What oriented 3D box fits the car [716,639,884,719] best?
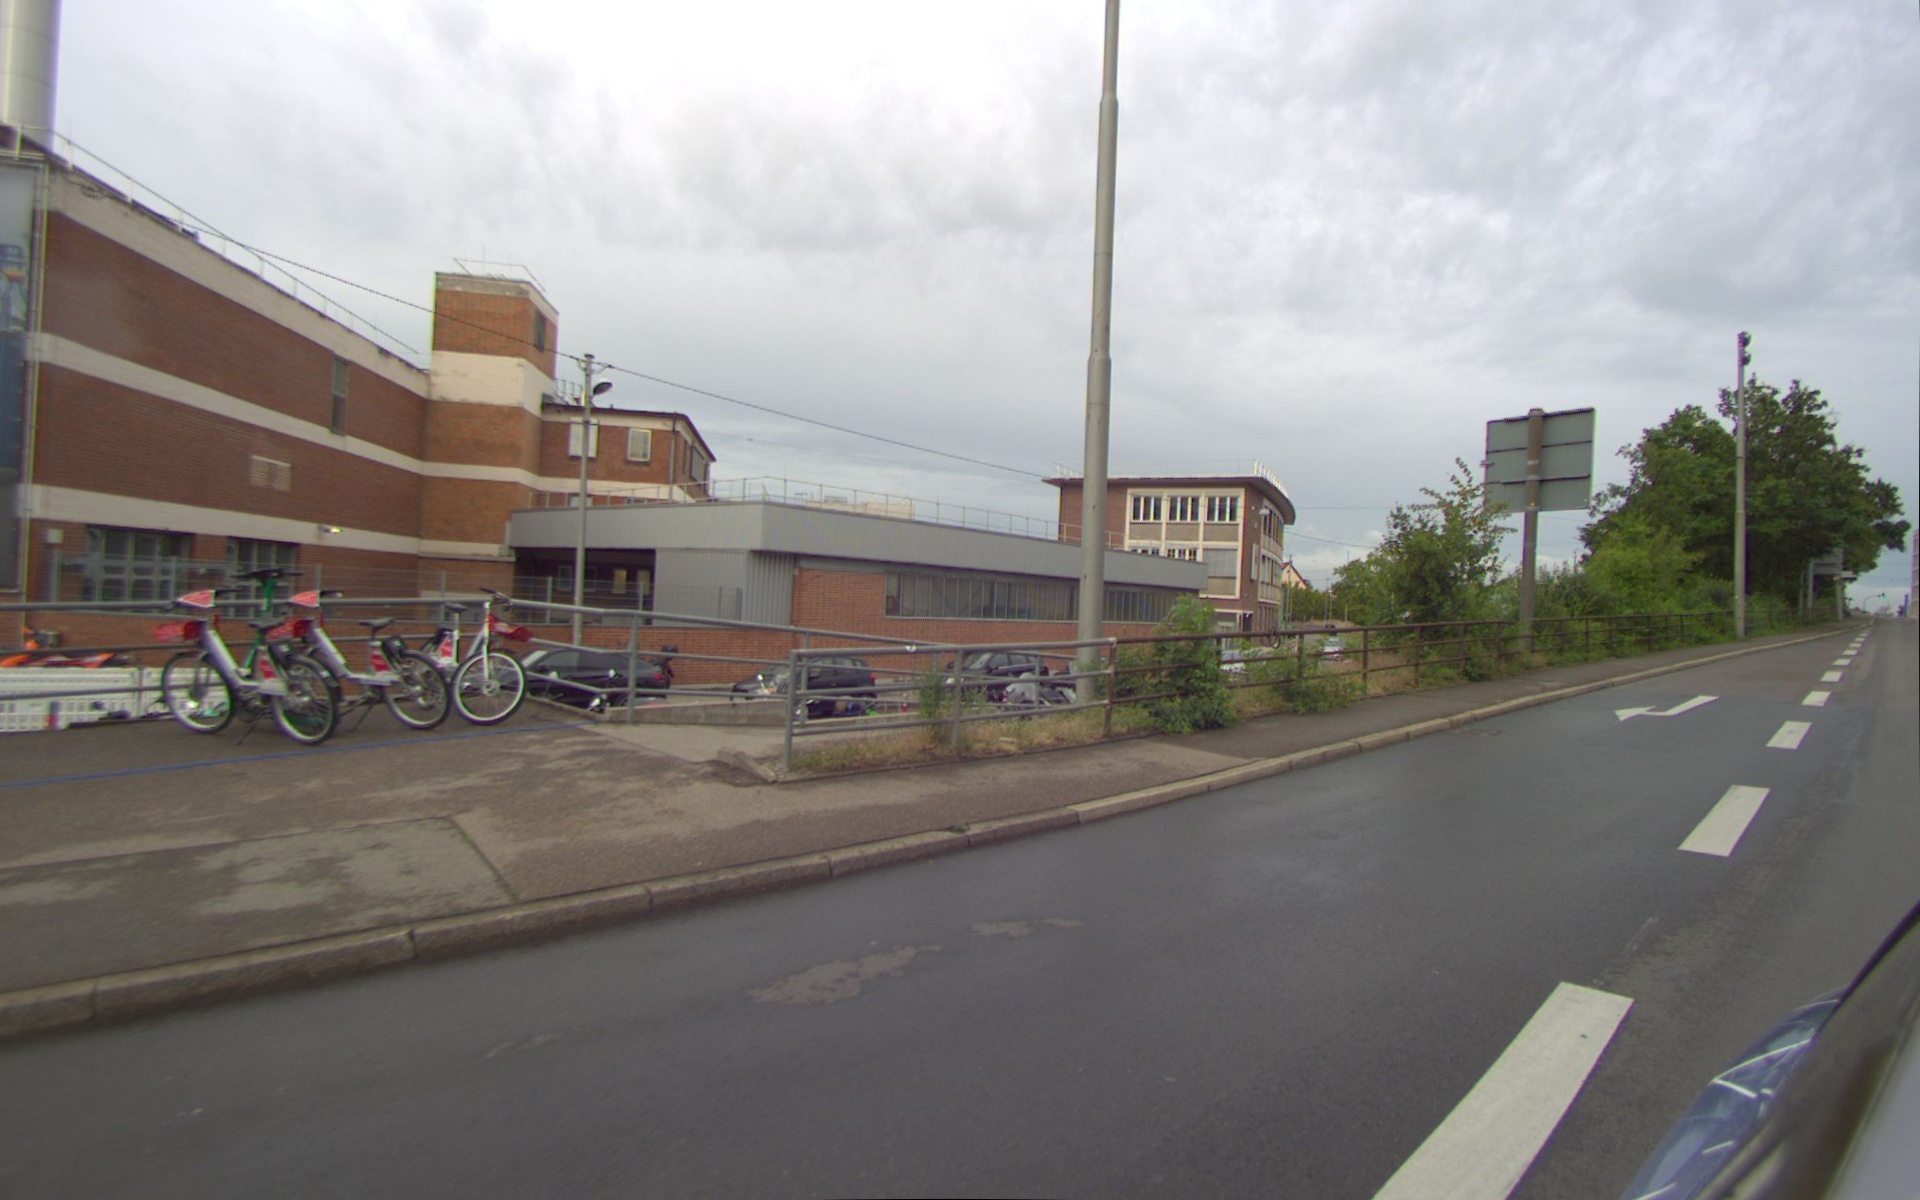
[{"bbox_3d":[-3.877,1.864,24.942,1.698,1.648,3.869,1,1,43],"label":"car"}]

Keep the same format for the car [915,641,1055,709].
[{"bbox_3d":[0.797,2.129,29.751,1.632,1.652,4.361,1,1,43],"label":"car"}]

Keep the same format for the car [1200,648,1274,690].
[{"bbox_3d":[12.402,3.026,45.185,1.696,1.574,3.800,1,1,41],"label":"car"}]

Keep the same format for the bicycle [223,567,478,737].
[{"bbox_3d":[-4.894,0.376,8.136,1.904,1.239,0.597,2,1,15],"label":"bicycle"}]

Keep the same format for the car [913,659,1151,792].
[{"bbox_3d":[1.221,1.826,15.784,1.698,1.574,3.797,1,1,43],"label":"car"}]

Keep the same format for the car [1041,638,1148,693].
[{"bbox_3d":[4.595,2.174,34.267,1.698,1.574,3.797,1,1,43],"label":"car"}]

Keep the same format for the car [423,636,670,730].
[{"bbox_3d":[-8.129,1.607,20.196,1.697,1.630,4.195,-1,-3,43],"label":"car"}]

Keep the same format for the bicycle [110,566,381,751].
[{"bbox_3d":[-5.333,0.387,7.552,1.905,1.239,0.596,2,1,16],"label":"bicycle"}]

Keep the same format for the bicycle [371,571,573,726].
[{"bbox_3d":[-4.279,0.372,8.831,1.915,1.192,0.593,2,1,29],"label":"bicycle"}]

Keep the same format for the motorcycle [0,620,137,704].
[{"bbox_3d":[-16.161,1.108,18.128,1.943,1.325,0.932,3,2,-17],"label":"motorcycle"}]
